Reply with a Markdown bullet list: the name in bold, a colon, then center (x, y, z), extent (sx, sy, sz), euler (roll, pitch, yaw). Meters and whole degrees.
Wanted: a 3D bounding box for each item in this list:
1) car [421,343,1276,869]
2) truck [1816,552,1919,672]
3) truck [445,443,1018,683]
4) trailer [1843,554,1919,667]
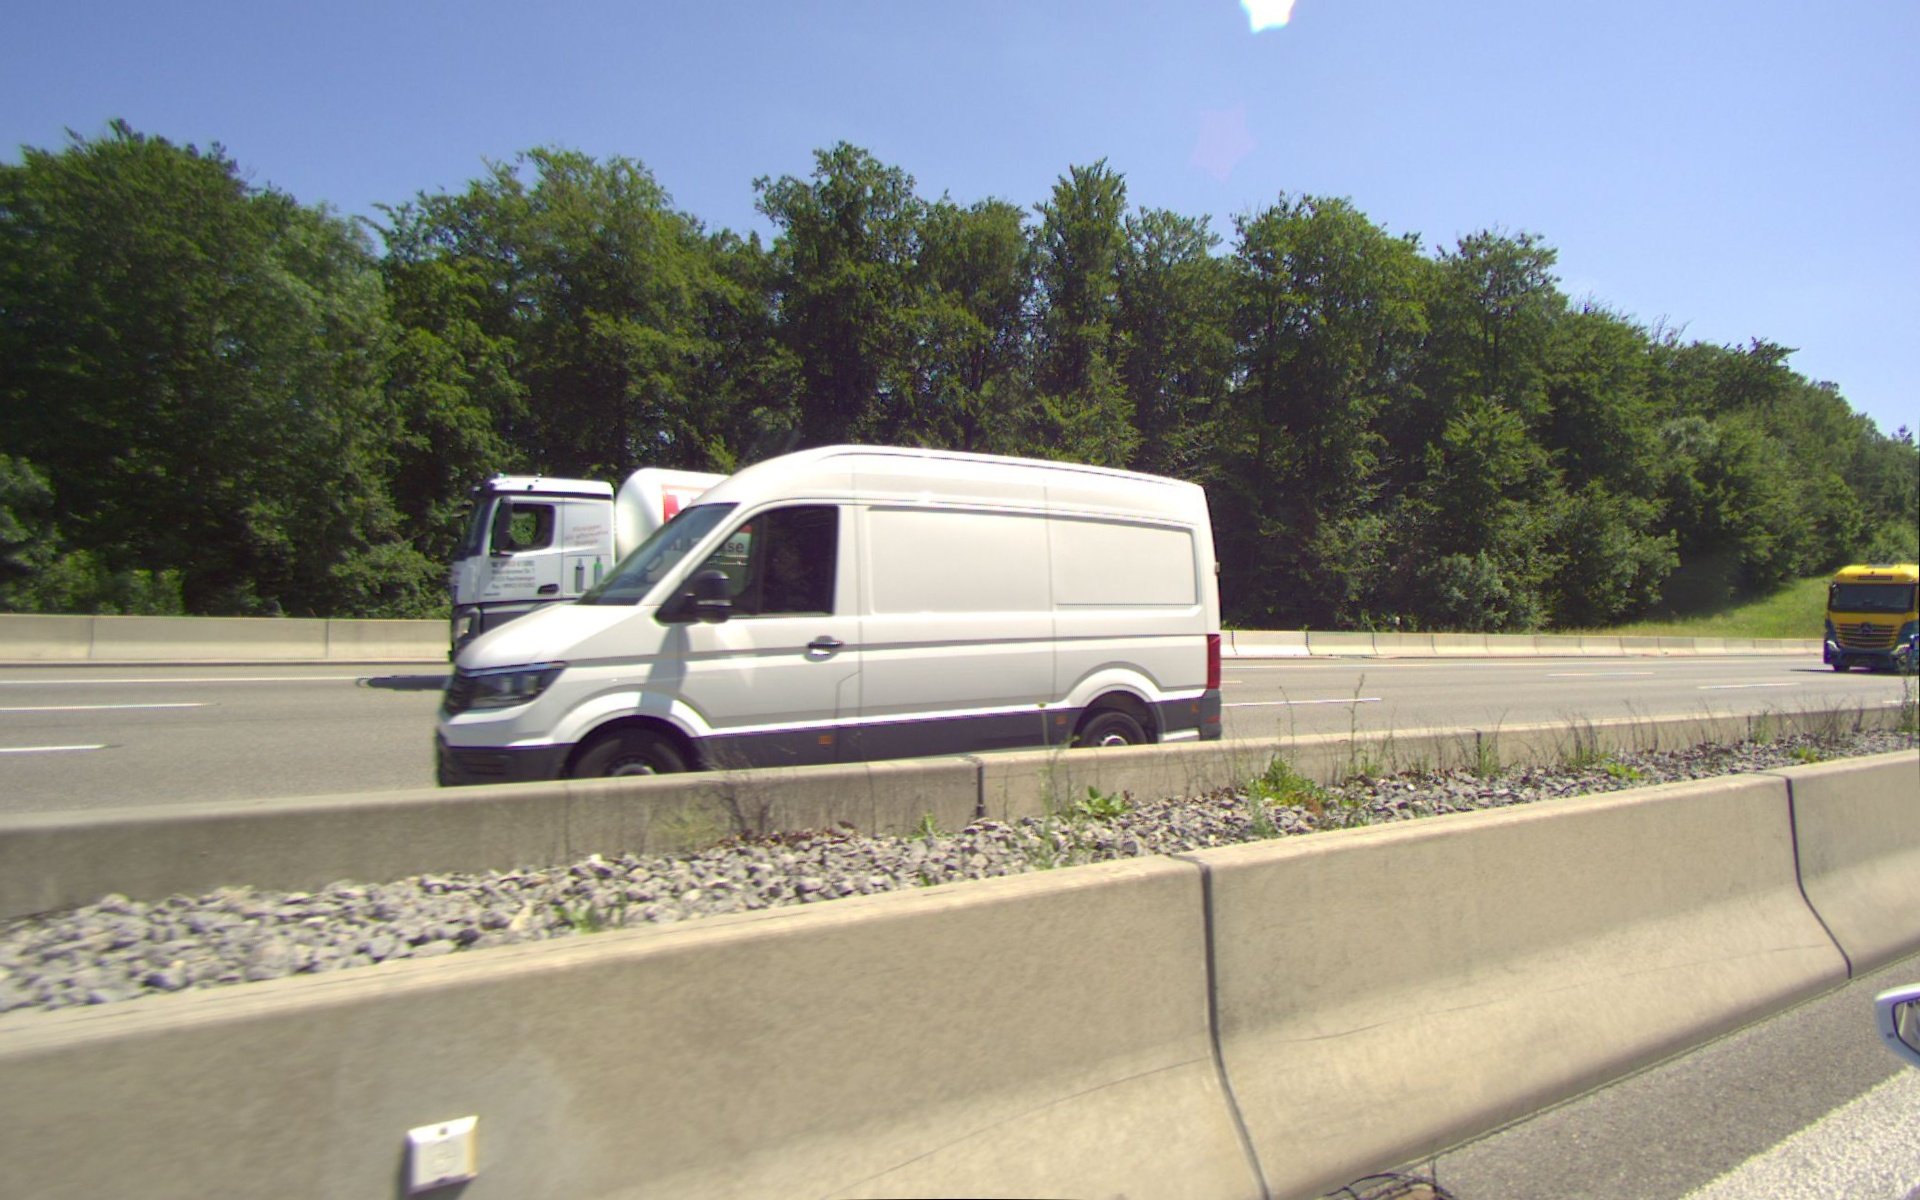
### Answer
- **car**: center (-0.555, 0.051, 7.748), extent (6.238, 2.725, 2.086), euler (1, 2, -32)
- **truck**: center (33.810, 0.472, 36.177), extent (6.725, 3.992, 2.517), euler (2, 0, -32)
- **truck**: center (-3.782, -0.407, 18.267), extent (9.766, 3.512, 2.597), euler (2, 1, -30)
- **trailer**: center (38.005, 0.509, 38.755), extent (11.562, 3.932, 2.525), euler (2, 0, -31)
